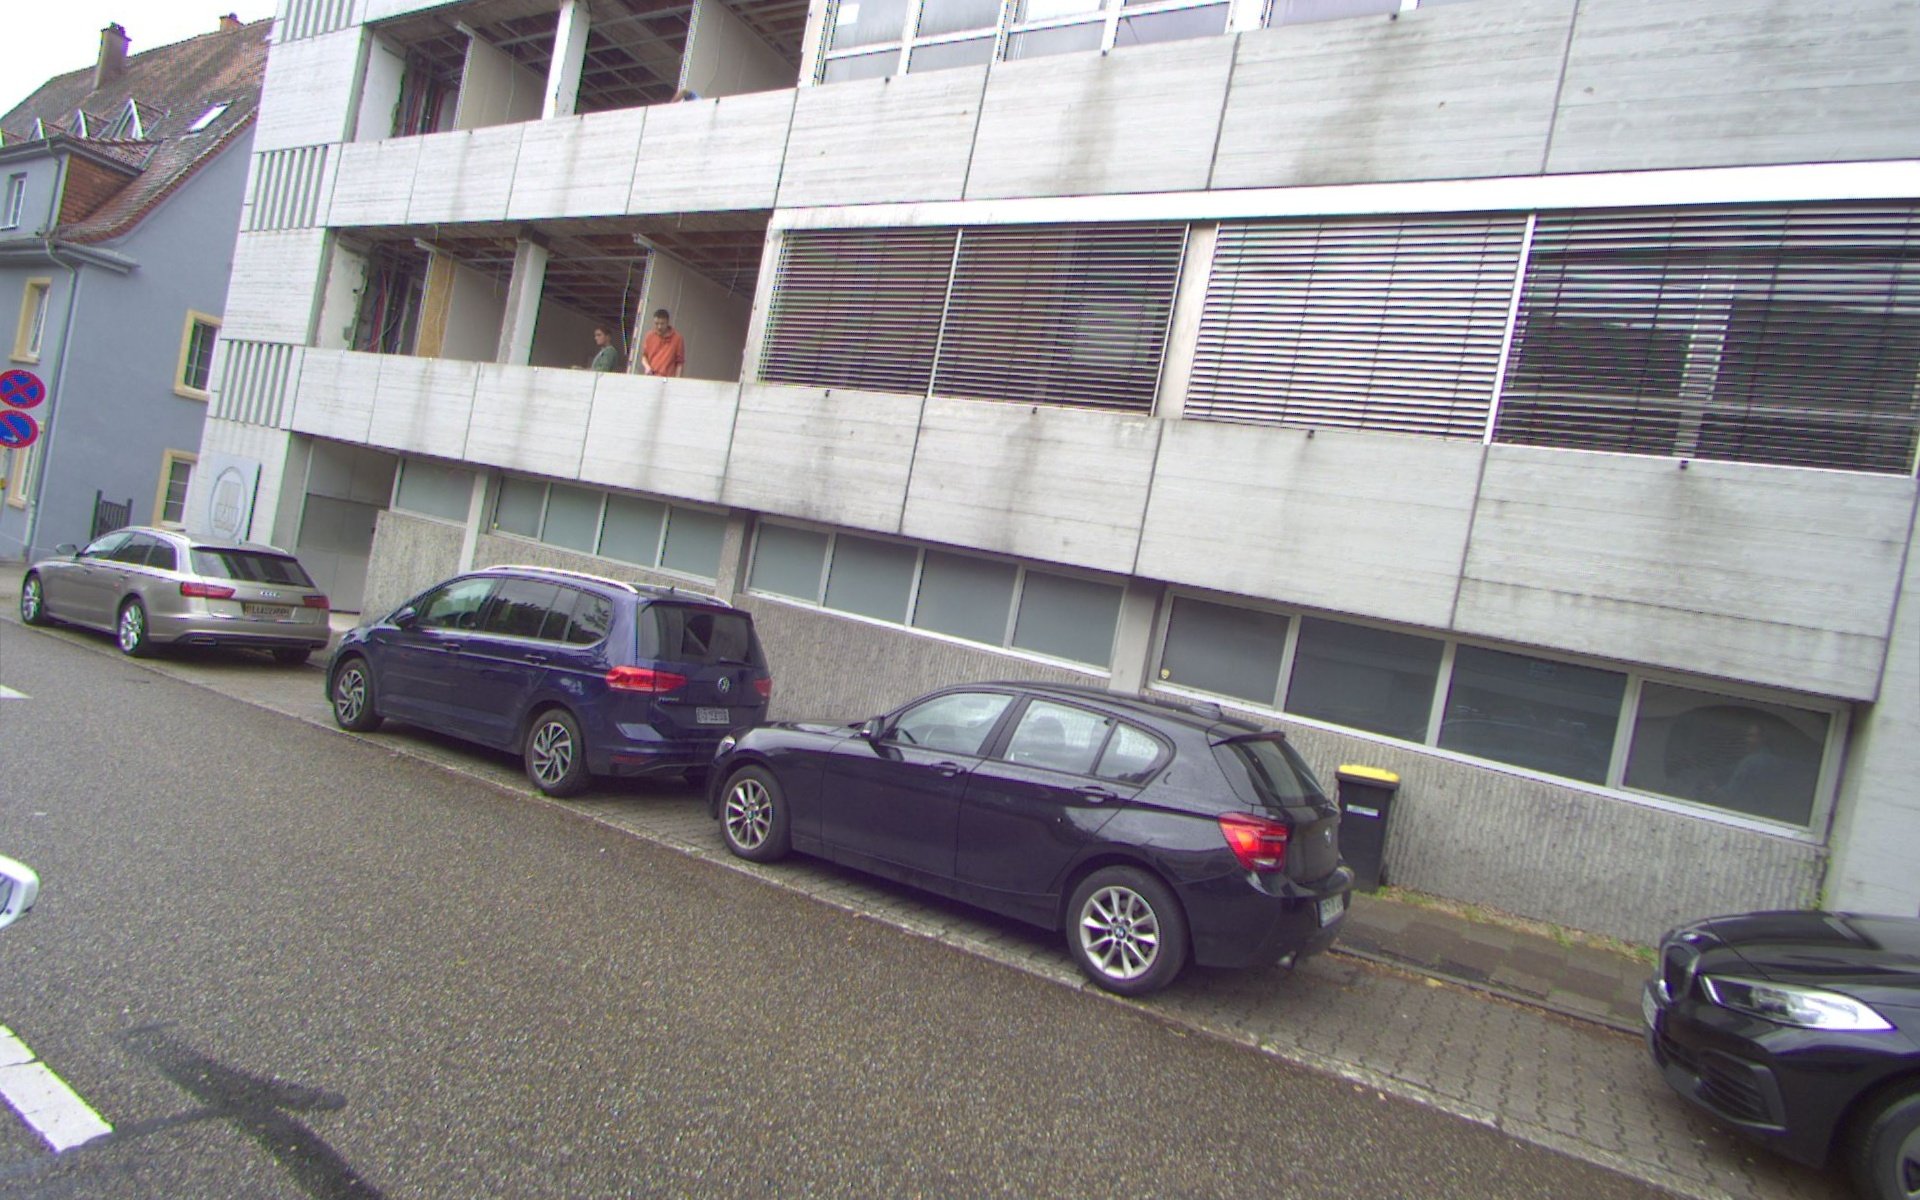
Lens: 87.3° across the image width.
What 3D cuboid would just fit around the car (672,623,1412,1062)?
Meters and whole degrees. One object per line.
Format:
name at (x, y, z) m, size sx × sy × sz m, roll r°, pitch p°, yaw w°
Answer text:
car at (0.344, 1.170, 6.309) m, size 4.183 × 1.465 × 1.750 m, roll 7°, pitch -1°, yaw 34°

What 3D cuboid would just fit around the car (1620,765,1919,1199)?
car at (5.096, 1.780, 3.532) m, size 4.367 × 1.452 × 1.997 m, roll 7°, pitch 0°, yaw 30°

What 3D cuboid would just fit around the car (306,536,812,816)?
car at (-3.517, 0.534, 8.650) m, size 4.090 × 1.618 × 1.732 m, roll 7°, pitch -1°, yaw 30°

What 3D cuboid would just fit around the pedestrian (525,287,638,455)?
pedestrian at (-5.243, -3.140, 13.971) m, size 0.847 × 2.036 × 0.909 m, roll 6°, pitch -2°, yaw 31°

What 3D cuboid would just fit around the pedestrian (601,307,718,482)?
pedestrian at (-3.951, -2.675, 13.283) m, size 0.847 × 2.036 × 0.909 m, roll 6°, pitch -2°, yaw 31°

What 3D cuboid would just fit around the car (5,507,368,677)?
car at (-9.794, -0.125, 12.674) m, size 4.449 × 1.465 × 1.967 m, roll 7°, pitch -1°, yaw 30°
